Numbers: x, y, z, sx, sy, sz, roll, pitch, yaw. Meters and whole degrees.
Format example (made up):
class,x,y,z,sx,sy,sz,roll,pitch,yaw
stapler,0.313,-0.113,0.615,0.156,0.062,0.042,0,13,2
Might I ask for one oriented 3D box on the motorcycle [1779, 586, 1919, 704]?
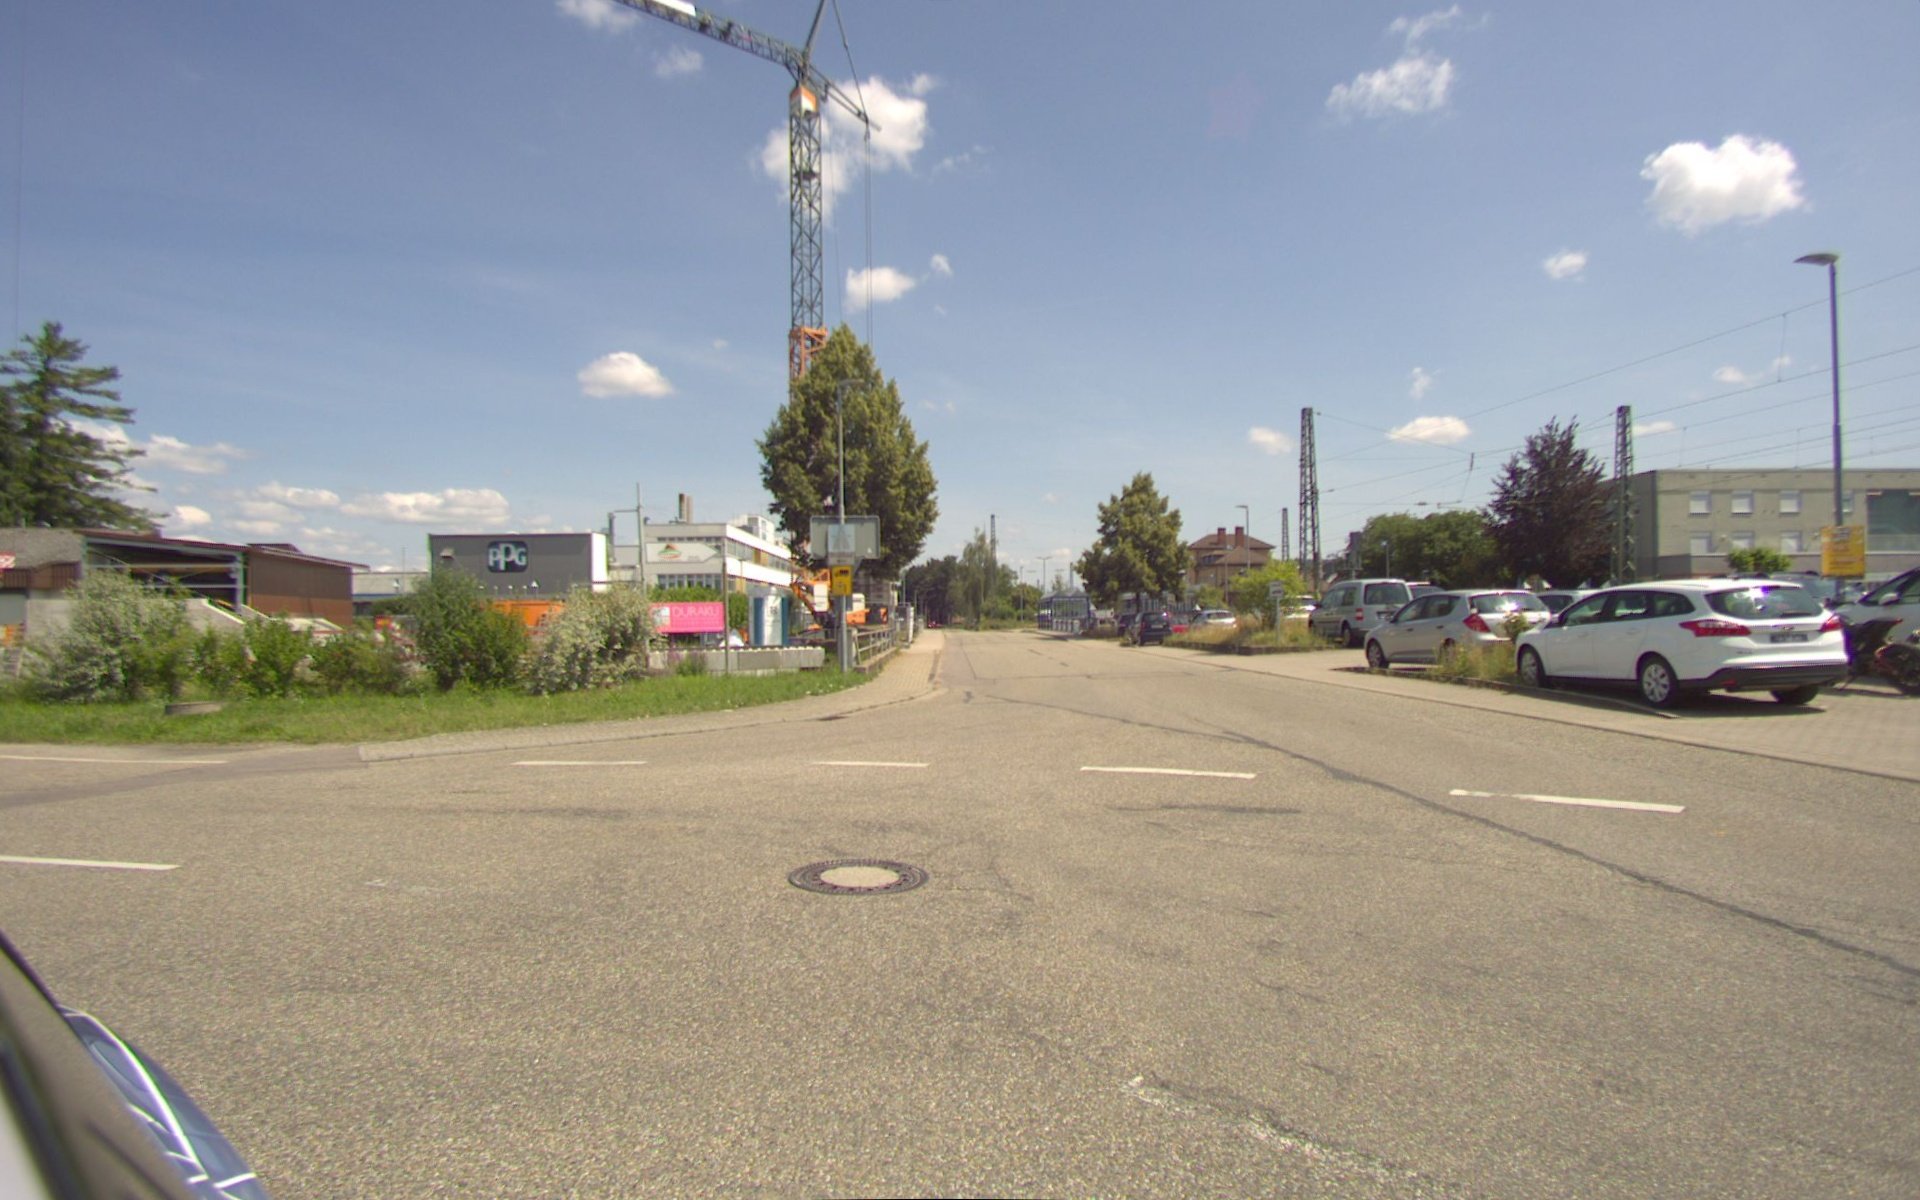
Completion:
class,x,y,z,sx,sy,sz,roll,pitch,yaw
motorcycle,11.636,0.534,12.332,0.729,1.383,3.212,-1,-1,1

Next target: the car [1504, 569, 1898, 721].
class,x,y,z,sx,sy,sz,roll,pitch,yaw
car,8.969,0.517,12.822,1.784,1.576,4.262,-1,-1,-1

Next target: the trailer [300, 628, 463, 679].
class,x,y,z,sx,sy,sz,roll,pitch,yaw
trailer,-22.852,2.082,40.197,5.307,1.792,1.828,0,1,-15

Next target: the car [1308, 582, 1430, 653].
class,x,y,z,sx,sy,sz,roll,pitch,yaw
car,11.410,0.496,28.526,1.929,1.847,3.832,-1,-1,2

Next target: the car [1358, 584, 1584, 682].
class,x,y,z,sx,sy,sz,roll,pitch,yaw
car,9.018,0.567,18.294,1.768,1.556,3.965,-1,-1,-5

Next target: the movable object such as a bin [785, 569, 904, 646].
class,x,y,z,sx,sy,sz,roll,pitch,yaw
movable object such as a bin,-5.363,0.269,46.902,5.041,3.317,2.404,0,4,-19

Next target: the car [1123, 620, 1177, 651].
class,x,y,z,sx,sy,sz,roll,pitch,yaw
car,8.668,1.601,46.531,1.586,1.360,4.001,-1,-1,-2

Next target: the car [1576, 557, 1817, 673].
class,x,y,z,sx,sy,sz,roll,pitch,yaw
car,14.162,0.304,19.795,1.827,2.029,3.997,-1,-1,2

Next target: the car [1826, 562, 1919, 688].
class,x,y,z,sx,sy,sz,roll,pitch,yaw
car,13.623,0.289,12.652,1.974,1.670,4.258,-2,-1,3

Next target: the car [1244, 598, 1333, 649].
class,x,y,z,sx,sy,sz,roll,pitch,yaw
car,11.479,0.818,35.671,1.708,1.698,4.001,0,-1,-2

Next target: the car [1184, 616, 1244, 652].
class,x,y,z,sx,sy,sz,roll,pitch,yaw
car,11.477,1.504,45.968,1.586,1.533,4.001,-1,-1,-2

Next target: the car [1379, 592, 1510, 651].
class,x,y,z,sx,sy,sz,roll,pitch,yaw
car,14.252,0.635,30.077,1.929,1.621,4.269,-1,-1,2

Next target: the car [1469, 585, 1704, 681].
class,x,y,z,sx,sy,sz,roll,pitch,yaw
car,11.526,0.594,19.028,1.781,1.576,4.261,-1,-1,1
